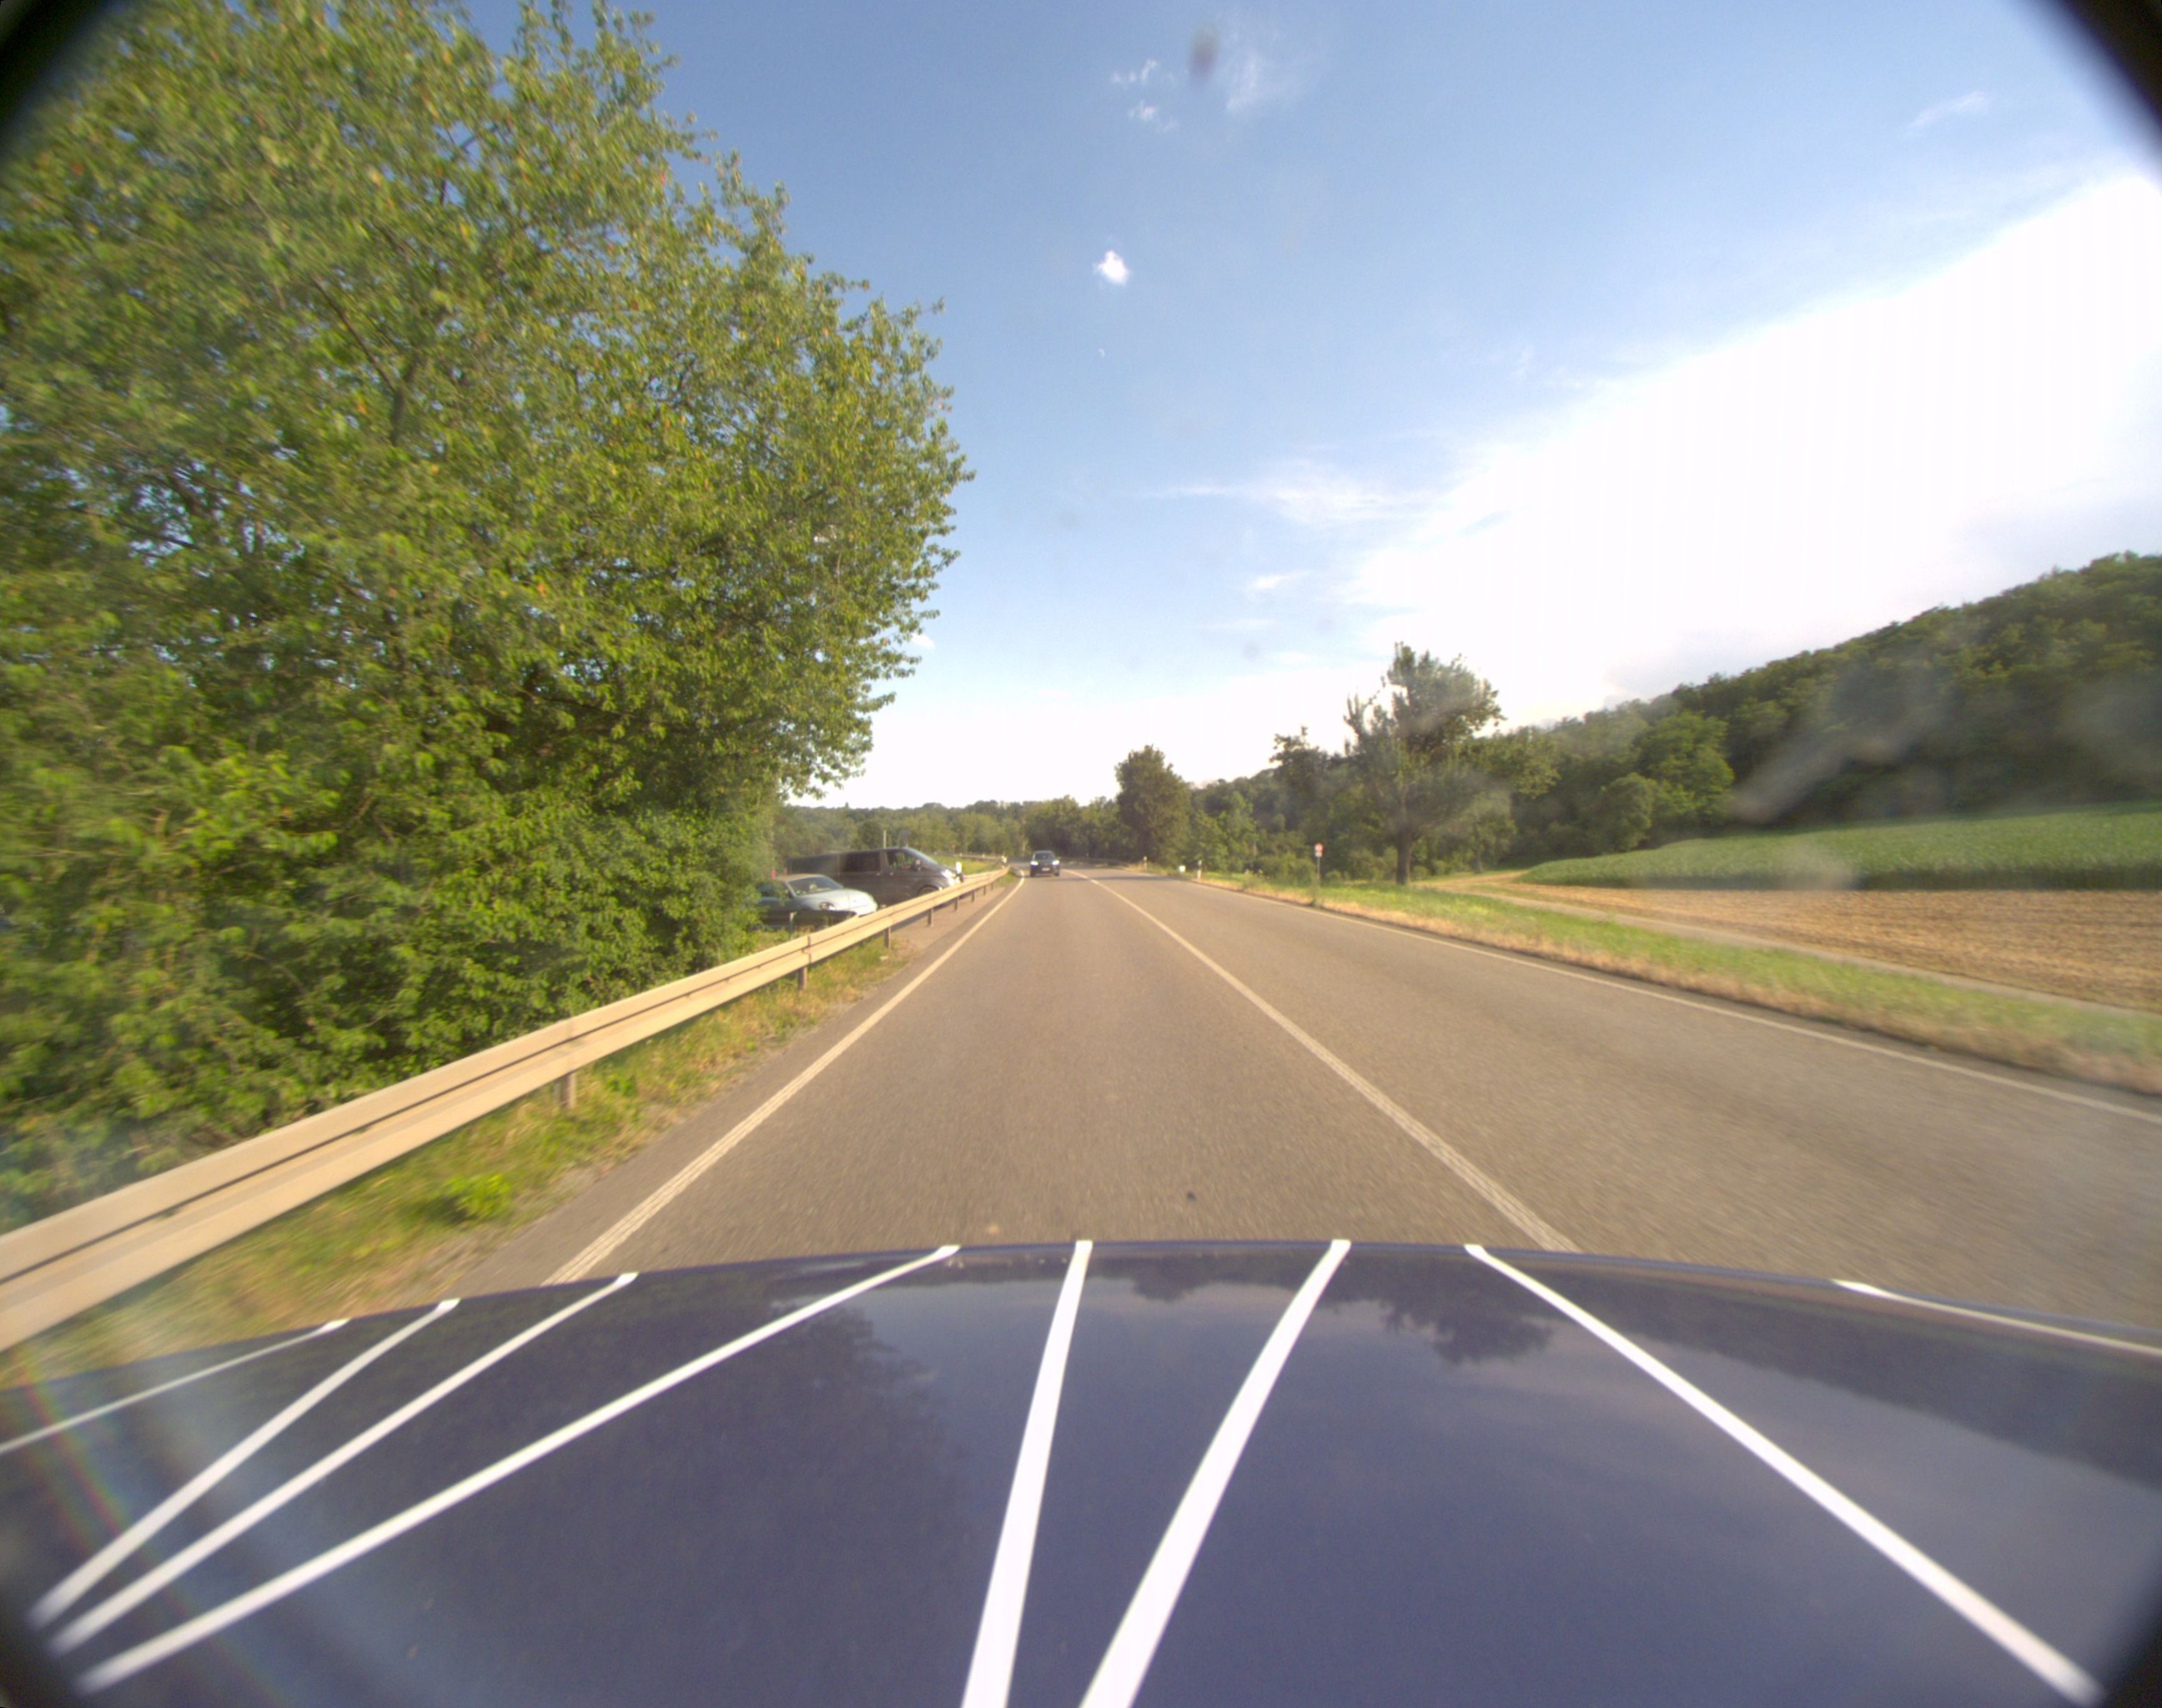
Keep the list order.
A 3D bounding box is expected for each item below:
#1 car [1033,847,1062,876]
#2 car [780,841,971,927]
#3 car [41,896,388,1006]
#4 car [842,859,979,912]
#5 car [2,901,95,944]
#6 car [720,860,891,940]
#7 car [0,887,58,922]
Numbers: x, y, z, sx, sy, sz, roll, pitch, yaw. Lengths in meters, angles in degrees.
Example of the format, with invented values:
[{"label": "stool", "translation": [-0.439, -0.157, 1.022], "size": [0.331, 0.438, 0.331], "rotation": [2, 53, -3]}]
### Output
[{"label": "car", "translation": [-2.190, 0.451, 49.538], "size": [1.751, 1.645, 4.303], "rotation": [-1, 2, -3]}, {"label": "car", "translation": [-6.094, 0.864, 23.122], "size": [5.154, 1.933, 1.974], "rotation": [-7, 1, -5]}, {"label": "car", "translation": [-17.015, 1.811, 15.294], "size": [4.224, 1.737, 1.807], "rotation": [-1, 0, -31]}, {"label": "car", "translation": [-6.025, 1.086, 27.081], "size": [4.330, 1.391, 1.717], "rotation": [-6, 1, -32]}, {"label": "car", "translation": [-49.478, 3.232, 36.511], "size": [1.807, 1.681, 4.583], "rotation": [-2, 1, -43]}, {"label": "car", "translation": [-6.838, 1.149, 18.759], "size": [4.001, 1.545, 1.681], "rotation": [-6, 1, 32]}, {"label": "car", "translation": [-58.485, 2.743, 41.366], "size": [1.806, 1.681, 4.585], "rotation": [-2, 1, -33]}]
